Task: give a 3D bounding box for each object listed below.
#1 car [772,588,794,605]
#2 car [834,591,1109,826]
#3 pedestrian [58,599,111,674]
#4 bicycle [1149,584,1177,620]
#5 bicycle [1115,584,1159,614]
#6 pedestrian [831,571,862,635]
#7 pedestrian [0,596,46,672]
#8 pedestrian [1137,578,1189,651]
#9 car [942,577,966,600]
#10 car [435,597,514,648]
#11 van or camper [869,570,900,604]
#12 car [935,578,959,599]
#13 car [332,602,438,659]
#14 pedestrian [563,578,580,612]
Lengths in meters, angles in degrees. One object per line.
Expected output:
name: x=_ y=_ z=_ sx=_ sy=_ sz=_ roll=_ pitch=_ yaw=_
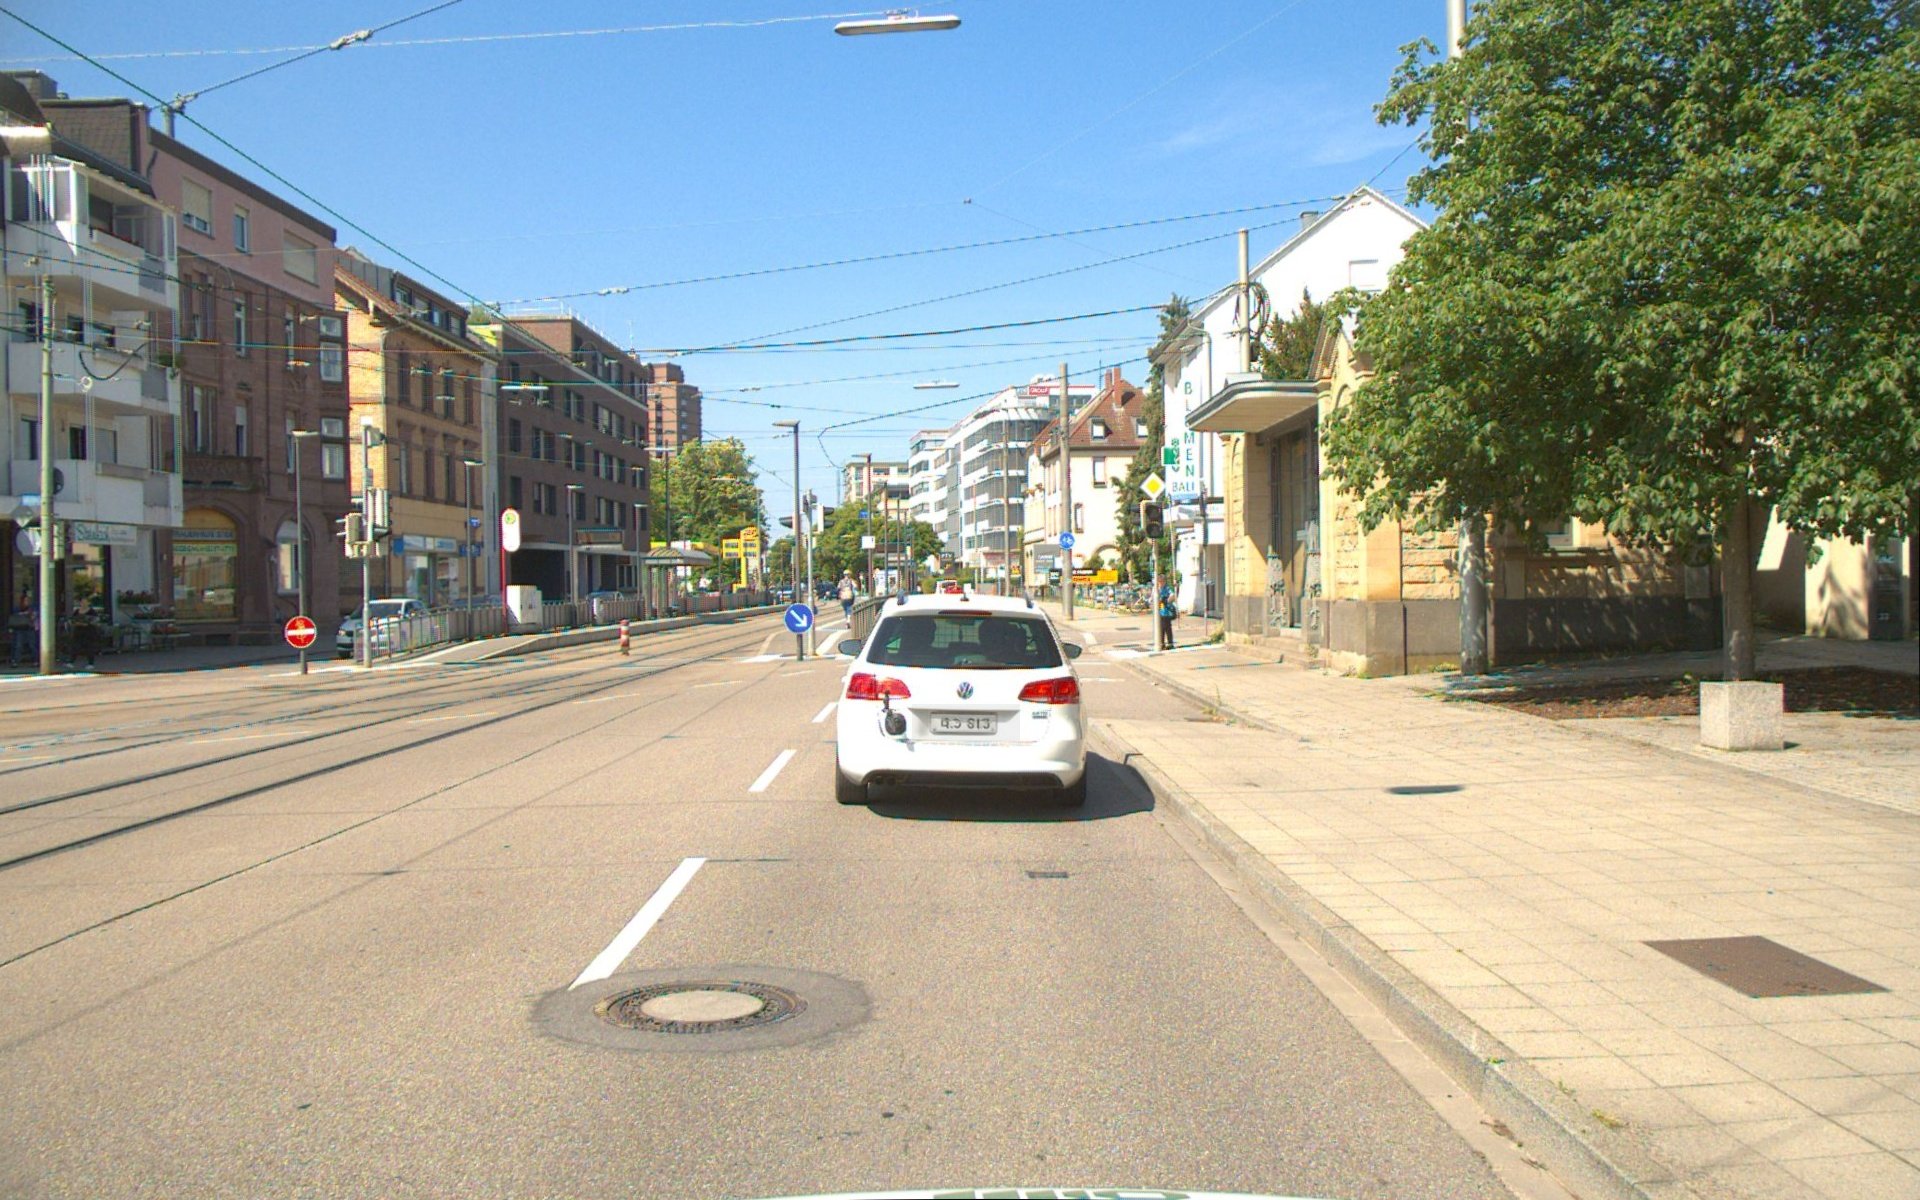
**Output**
car: x=-16.589 y=-0.338 z=154.812 sx=1.634 sy=1.492 sz=3.773 roll=-1 pitch=1 yaw=0
car: x=0.079 y=0.676 z=12.366 sx=1.717 sy=1.442 sz=3.853 roll=1 pitch=1 yaw=0
pedestrian: x=-20.155 y=0.830 z=38.082 sx=0.862 sy=1.676 sz=0.679 roll=-1 pitch=0 yaw=-8
bicycle: x=6.779 y=0.059 z=55.040 sx=0.710 sy=1.159 sz=2.197 roll=-1 pitch=1 yaw=12
bicycle: x=7.060 y=-0.058 z=66.117 sx=1.676 sy=1.150 sz=0.526 roll=-1 pitch=0 yaw=1
pedestrian: x=-3.366 y=0.083 z=49.110 sx=0.809 sy=1.841 sz=0.833 roll=-1 pitch=0 yaw=0
pedestrian: x=-21.307 y=0.767 z=37.566 sx=0.665 sy=1.676 sz=0.732 roll=-1 pitch=0 yaw=-1
pedestrian: x=4.323 y=0.304 z=35.237 sx=0.765 sy=1.536 sz=0.856 roll=-1 pitch=0 yaw=34
car: x=-0.578 y=-1.102 z=156.744 sx=1.954 sy=2.049 sz=3.996 roll=-1 pitch=1 yaw=-5
car: x=-15.362 y=0.698 z=52.474 sx=1.541 sy=1.484 sz=3.811 roll=-2 pitch=1 yaw=-4
van or camper: x=-7.655 y=-1.311 z=166.099 sx=2.886 sy=3.235 sz=6.608 roll=-1 pitch=1 yaw=-4
car: x=-1.293 y=-1.128 z=162.157 sx=1.954 sy=2.049 sz=3.996 roll=-1 pitch=1 yaw=-5
car: x=-15.469 y=0.782 z=44.690 sx=1.593 sy=1.456 sz=3.961 roll=0 pitch=0 yaw=-2
pedestrian: x=-21.281 y=-0.274 z=90.552 sx=0.710 sy=1.822 sz=0.964 roll=0 pitch=0 yaw=0
